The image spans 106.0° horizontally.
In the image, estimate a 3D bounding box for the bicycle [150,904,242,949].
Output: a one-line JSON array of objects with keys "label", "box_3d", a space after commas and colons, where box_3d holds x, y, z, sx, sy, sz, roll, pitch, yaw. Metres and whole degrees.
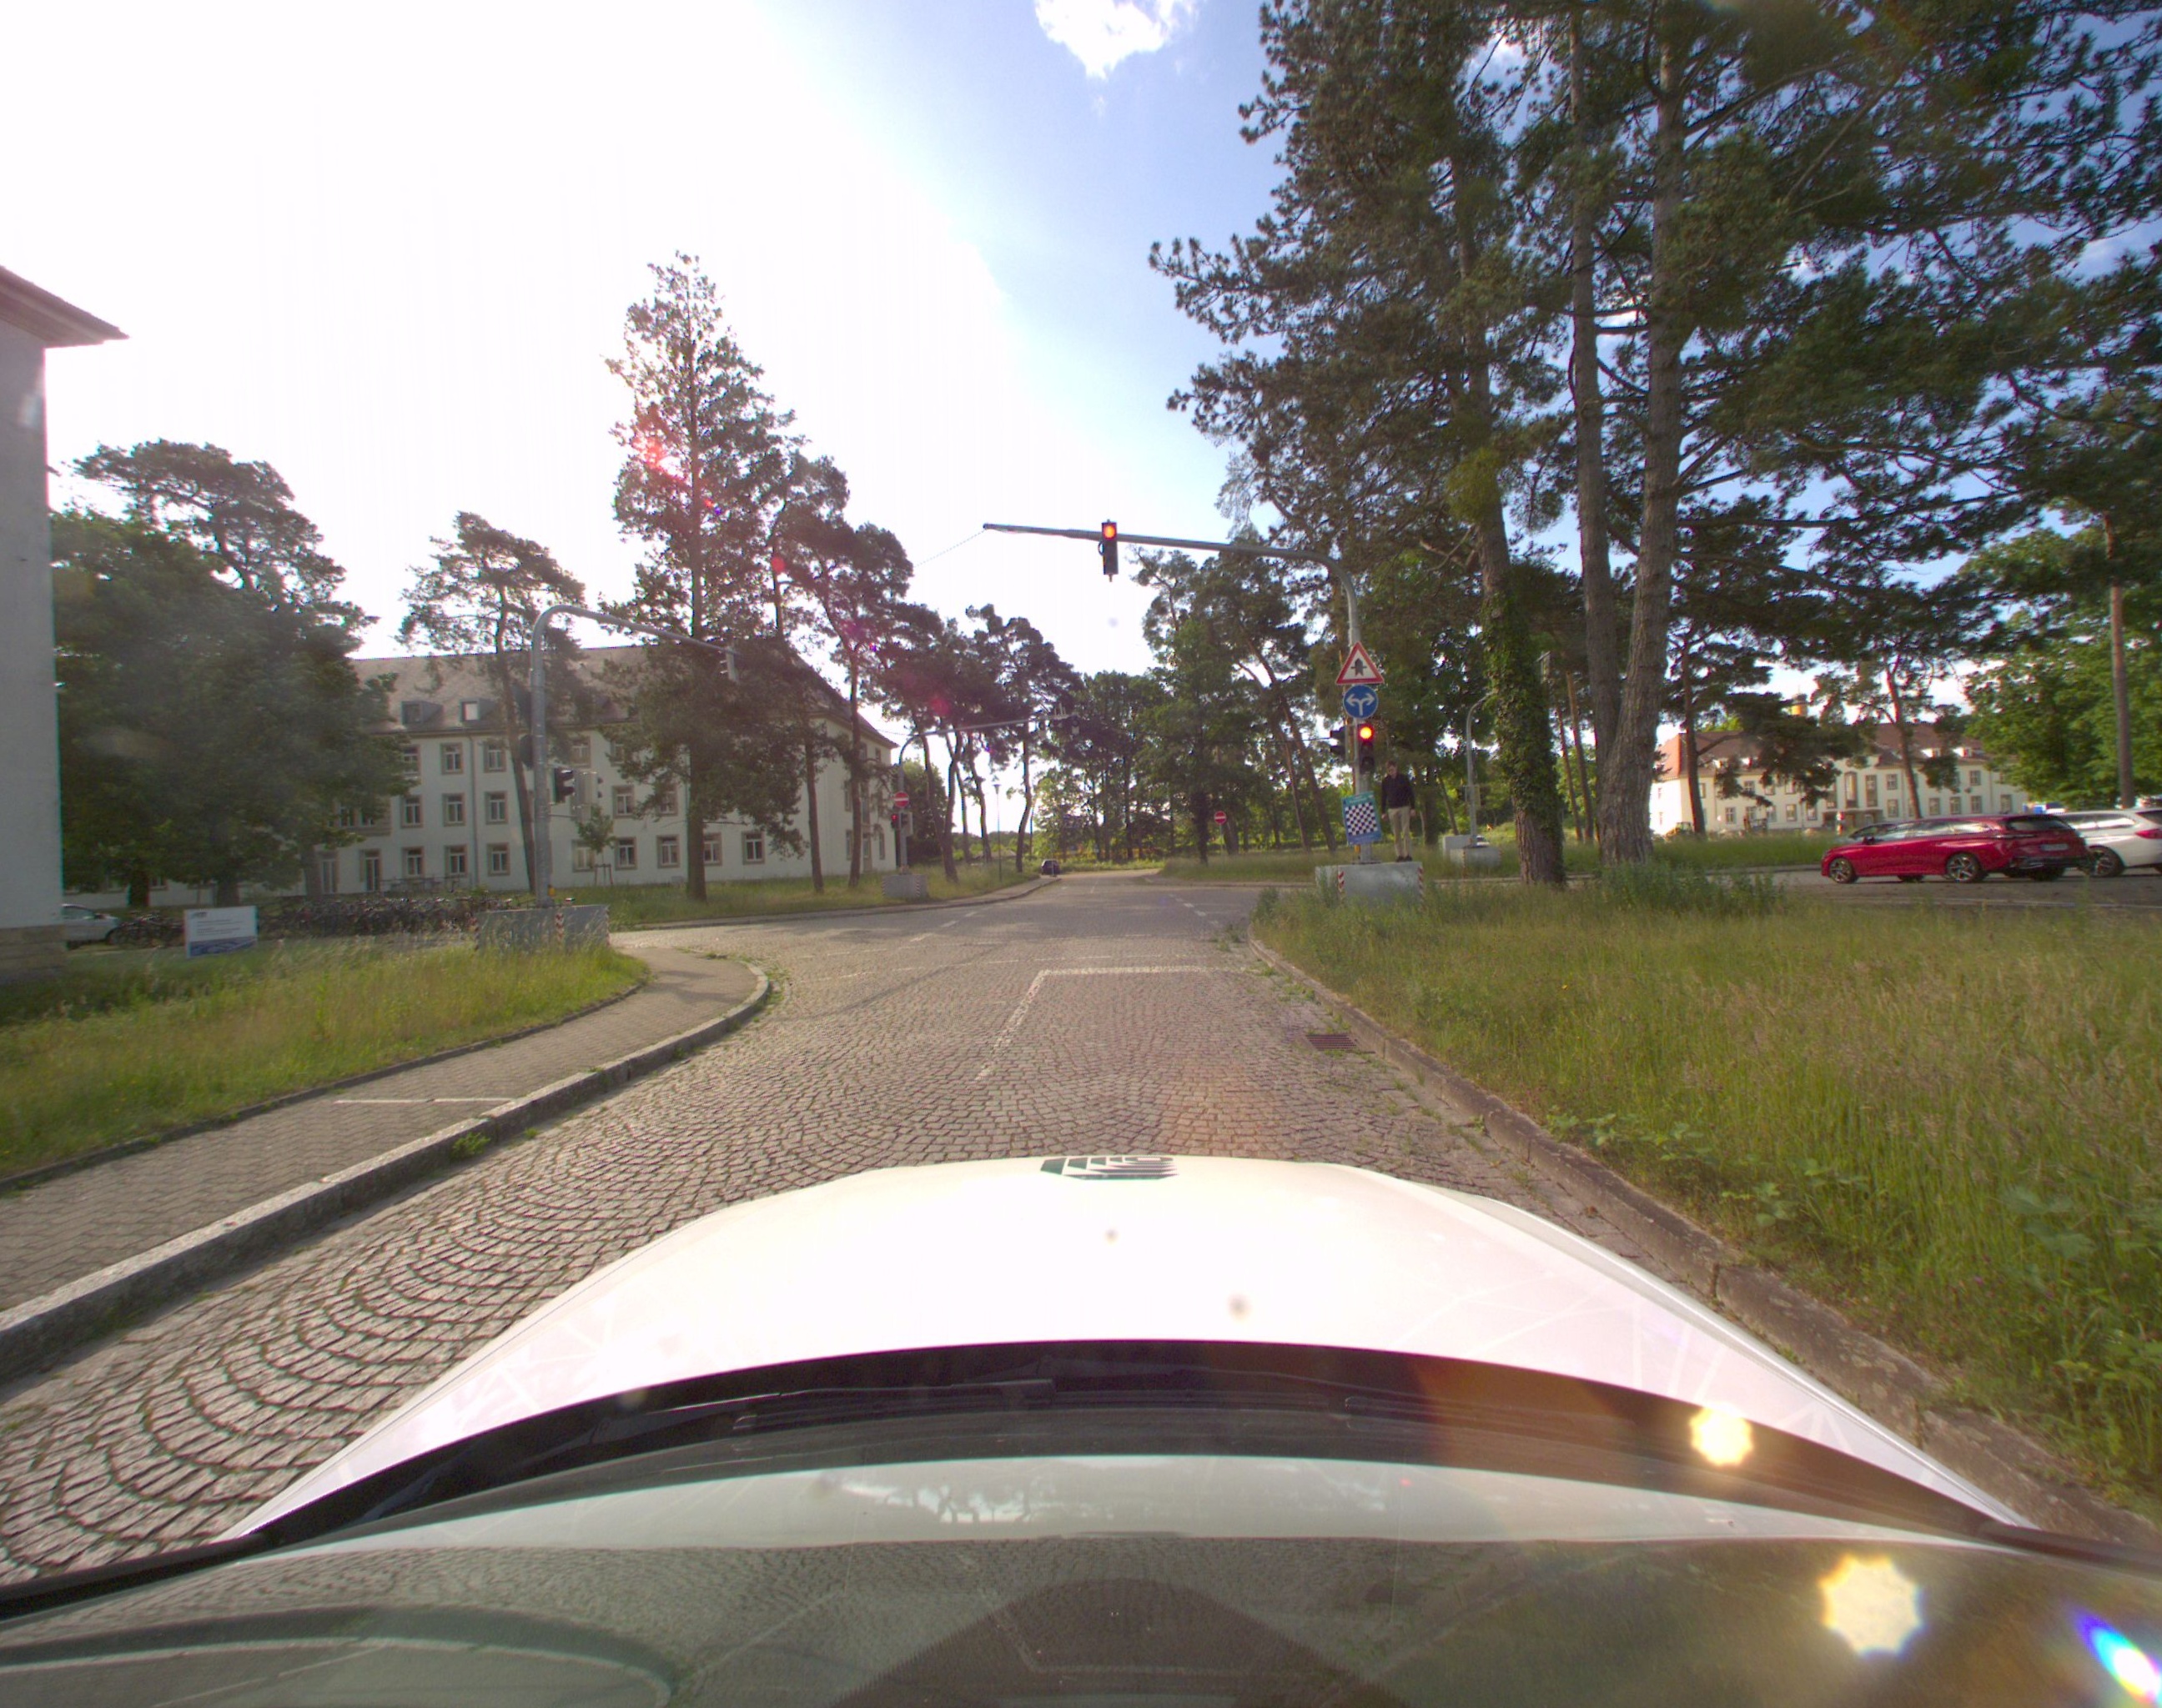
[{"label": "bicycle", "box_3d": [-27.683, 2.256, 25.514, 1.836, 1.220, 0.510, -3, 0, -34]}]

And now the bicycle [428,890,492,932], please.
[{"label": "bicycle", "box_3d": [-20.463, 1.866, 26.881, 0.546, 1.220, 1.900, -3, 0, 1]}]

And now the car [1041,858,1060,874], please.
[{"label": "car", "box_3d": [-3.014, 1.228, 82.233, 1.704, 1.496, 3.918, -3, 0, 0]}]

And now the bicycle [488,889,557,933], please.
[{"label": "bicycle", "box_3d": [-17.712, 1.790, 25.898, 0.630, 1.220, 2.125, -3, 0, 1]}]

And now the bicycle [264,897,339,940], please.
[{"label": "bicycle", "box_3d": [-25.437, 2.087, 26.630, 0.512, 1.220, 1.938, -3, 0, 1]}]

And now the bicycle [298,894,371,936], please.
[{"label": "bicycle", "box_3d": [-24.368, 1.966, 26.624, 0.512, 1.220, 1.938, -3, 0, 1]}]

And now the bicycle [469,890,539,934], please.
[{"label": "bicycle", "box_3d": [-18.315, 1.806, 25.913, 0.630, 1.220, 2.105, -3, 0, 1]}]

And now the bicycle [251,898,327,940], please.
[{"label": "bicycle", "box_3d": [-25.866, 2.099, 26.636, 0.512, 1.220, 1.938, -3, 0, 1]}]

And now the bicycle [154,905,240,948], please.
[{"label": "bicycle", "box_3d": [-28.760, 2.328, 26.519, 0.509, 1.220, 1.841, -3, 0, 38]}]

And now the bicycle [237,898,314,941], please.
[{"label": "bicycle", "box_3d": [-26.314, 2.111, 26.649, 0.512, 1.220, 1.938, -3, 0, 1]}]

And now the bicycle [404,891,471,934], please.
[{"label": "bicycle", "box_3d": [-20.984, 1.881, 26.612, 0.512, 1.220, 2.016, -3, 0, 1]}]

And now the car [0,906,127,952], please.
[{"label": "car", "box_3d": [-33.760, 2.441, 26.294, 1.503, 1.211, 3.597, -3, 0, 3]}]

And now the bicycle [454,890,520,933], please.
[{"label": "bicycle", "box_3d": [-19.159, 1.830, 26.310, 0.570, 1.220, 1.990, -3, 0, 1]}]

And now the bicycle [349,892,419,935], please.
[{"label": "bicycle", "box_3d": [-22.676, 1.920, 26.550, 0.512, 1.220, 1.955, -3, 0, 1]}]

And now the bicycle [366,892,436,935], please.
[{"label": "bicycle", "box_3d": [-22.150, 1.908, 26.576, 0.512, 1.220, 1.977, -3, 0, 1]}]

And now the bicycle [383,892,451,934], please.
[{"label": "bicycle", "box_3d": [-21.632, 1.898, 26.575, 0.512, 1.220, 1.977, -3, 0, 1]}]

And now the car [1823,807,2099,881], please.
[{"label": "car", "box_3d": [19.014, -0.149, 17.929, 1.649, 1.399, 4.131, -2, -1, 2]}]

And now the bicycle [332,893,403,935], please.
[{"label": "bicycle", "box_3d": [-23.231, 1.935, 26.568, 0.512, 1.220, 1.938, -3, 0, 1]}]

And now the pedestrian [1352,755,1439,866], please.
[{"label": "pedestrian", "box_3d": [5.536, -0.733, 14.311, 1.157, 1.796, 1.069, -4, 0, 31]}]

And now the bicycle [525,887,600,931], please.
[{"label": "bicycle", "box_3d": [-15.995, 1.696, 25.123, 1.855, 1.220, 0.635, -3, 0, 1]}]

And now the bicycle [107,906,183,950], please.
[{"label": "bicycle", "box_3d": [-30.123, 2.354, 26.251, 0.514, 1.220, 1.823, -3, 0, -9]}]

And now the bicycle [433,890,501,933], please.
[{"label": "bicycle", "box_3d": [-19.903, 1.852, 26.451, 0.576, 1.220, 2.030, -3, 0, 1]}]

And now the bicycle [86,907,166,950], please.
[{"label": "bicycle", "box_3d": [-30.729, 2.371, 26.242, 0.513, 1.220, 1.825, -3, 0, -6]}]

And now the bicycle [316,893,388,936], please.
[{"label": "bicycle", "box_3d": [-23.776, 1.950, 26.598, 0.512, 1.220, 1.938, -3, 0, 1]}]

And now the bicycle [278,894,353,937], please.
[{"label": "bicycle", "box_3d": [-24.978, 1.983, 26.621, 0.512, 1.220, 1.938, -3, 0, 1]}]

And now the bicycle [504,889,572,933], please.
[{"label": "bicycle", "box_3d": [-17.228, 1.775, 25.900, 0.630, 1.220, 2.115, -3, 0, 1]}]

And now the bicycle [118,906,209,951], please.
[{"label": "bicycle", "box_3d": [-28.793, 2.326, 25.585, 0.509, 1.220, 1.841, -3, 0, 38]}]

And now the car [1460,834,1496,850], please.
[{"label": "car", "box_3d": [42.404, -1.287, 87.109, 1.820, 1.582, 4.164, -3, 0, 2]}]

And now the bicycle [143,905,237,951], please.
[{"label": "bicycle", "box_3d": [-27.299, 2.251, 25.000, 1.836, 1.220, 0.510, -3, 0, -34]}]

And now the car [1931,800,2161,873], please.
[{"label": "car", "box_3d": [21.902, -0.333, 17.983, 1.773, 1.379, 4.240, -3, -2, 0]}]

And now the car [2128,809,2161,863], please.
[{"label": "car", "box_3d": [27.012, -0.483, 18.374, 1.610, 1.315, 4.047, -4, 0, 2]}]
